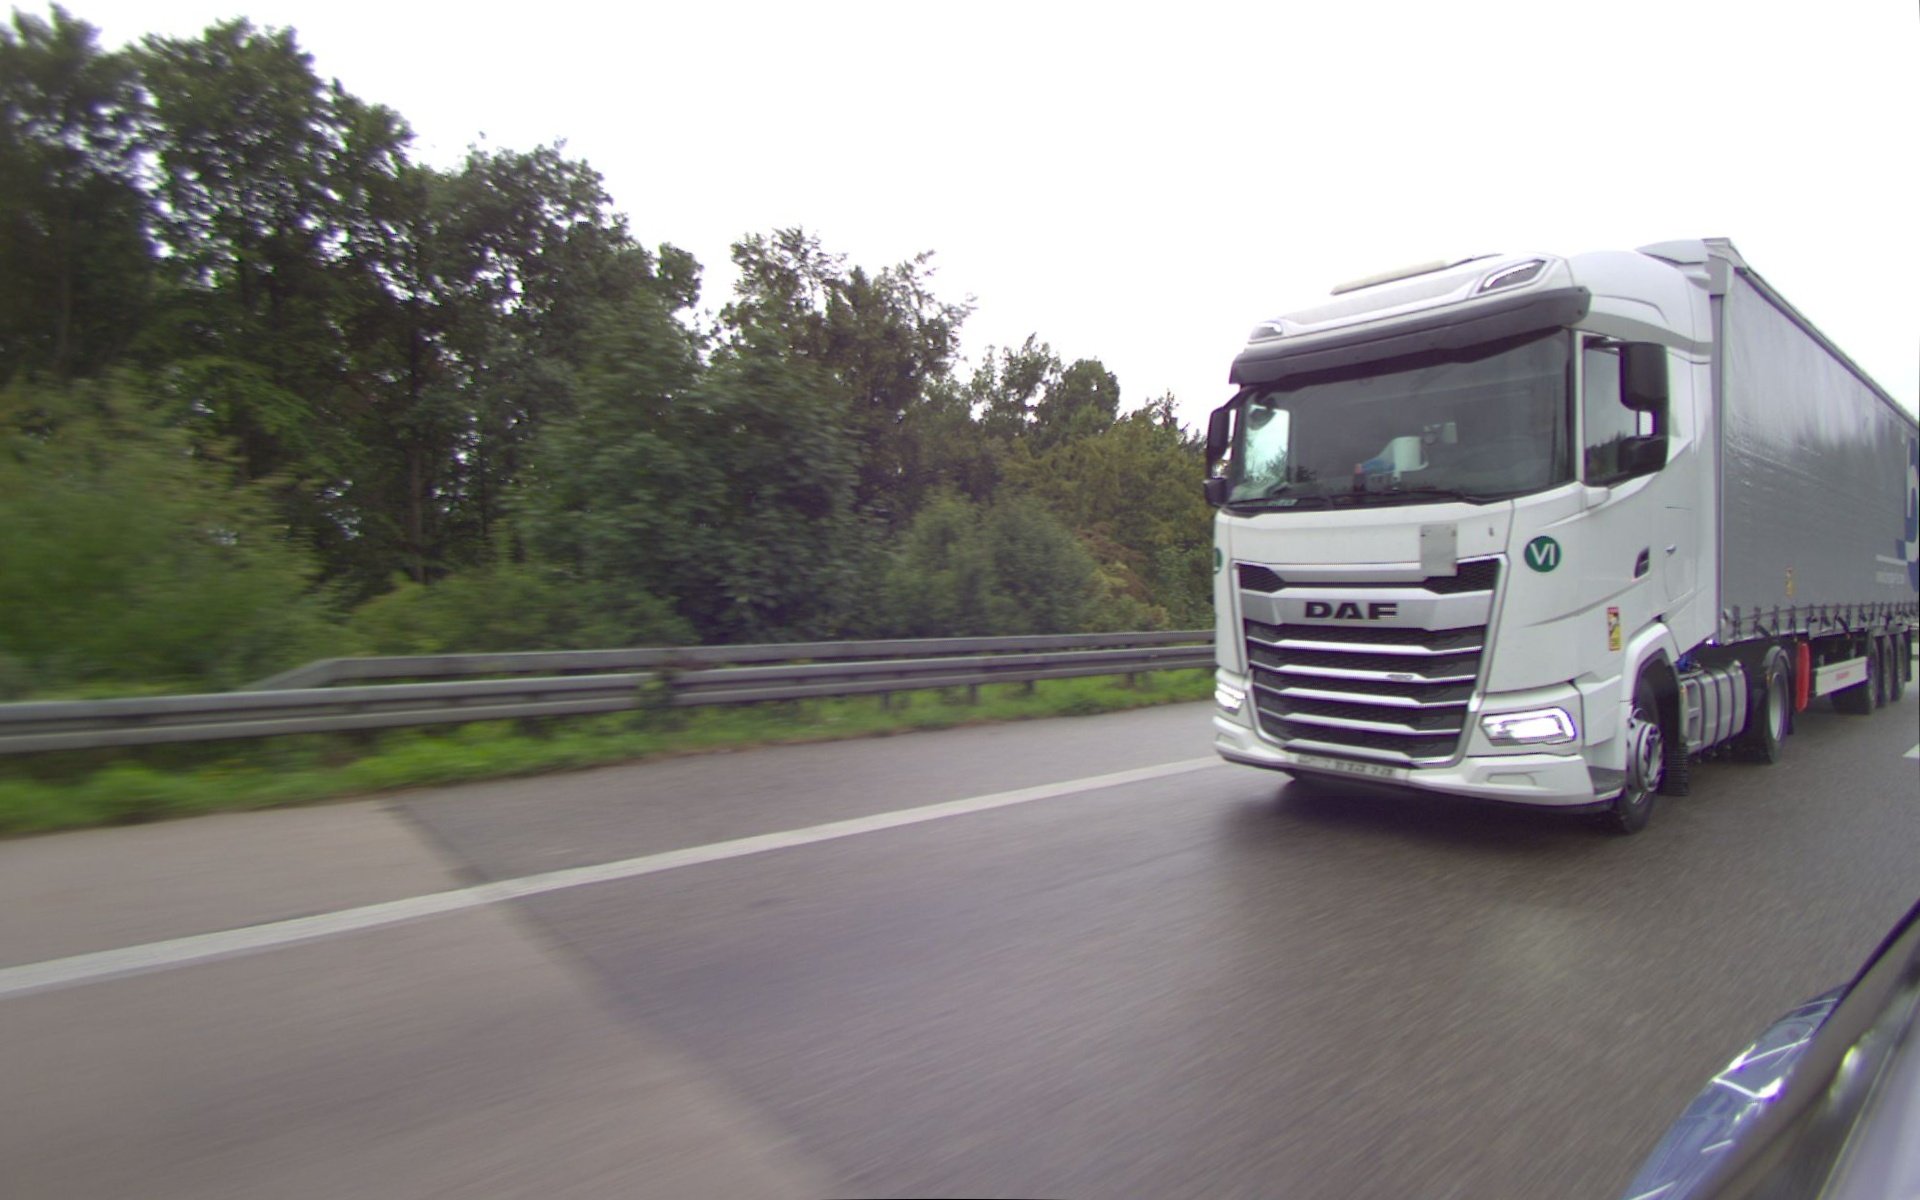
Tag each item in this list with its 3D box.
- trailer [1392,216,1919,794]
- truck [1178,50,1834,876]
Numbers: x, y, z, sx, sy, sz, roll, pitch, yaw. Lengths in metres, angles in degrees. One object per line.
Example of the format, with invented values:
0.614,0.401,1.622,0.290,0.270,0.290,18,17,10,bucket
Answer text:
9.883,-0.713,12.631,13.466,4.092,2.683,0,0,-41,trailer
4.538,-0.710,7.916,5.652,4.092,2.726,0,0,-41,truck
